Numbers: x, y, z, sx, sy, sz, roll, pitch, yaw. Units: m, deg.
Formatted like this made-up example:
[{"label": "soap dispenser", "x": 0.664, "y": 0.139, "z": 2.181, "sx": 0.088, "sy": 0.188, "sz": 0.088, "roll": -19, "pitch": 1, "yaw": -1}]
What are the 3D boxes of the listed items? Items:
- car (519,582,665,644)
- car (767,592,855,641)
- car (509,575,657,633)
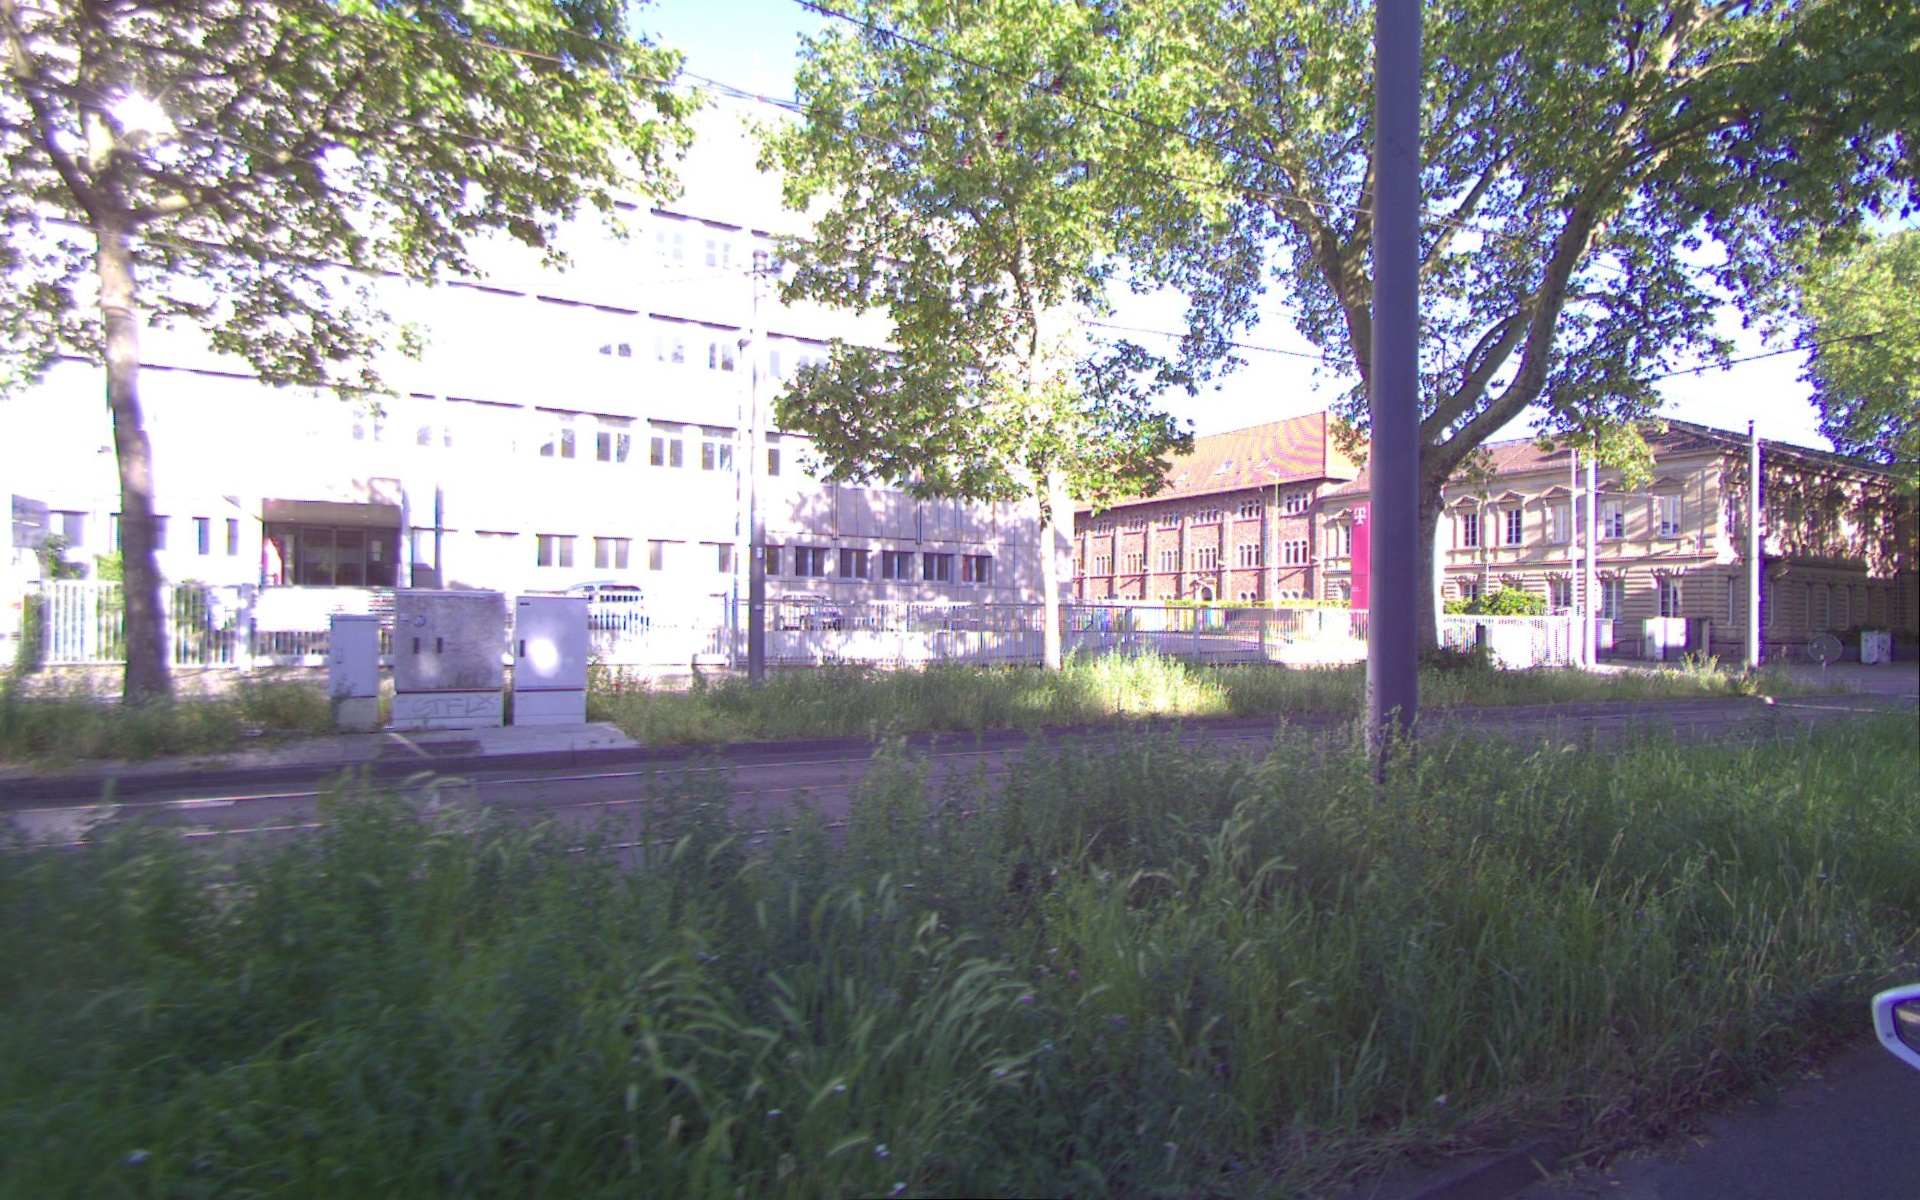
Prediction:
[{"label": "car", "x": -12.894, "y": 0.491, "z": 35.182, "sx": 4.660, "sy": 2.040, "sz": 1.988, "roll": 1, "pitch": -1, "yaw": -25}, {"label": "car", "x": -6.624, "y": 0.751, "z": 44.249, "sx": 1.980, "sy": 2.040, "sz": 4.708, "roll": 1, "pitch": -1, "yaw": -35}, {"label": "car", "x": -12.060, "y": 0.161, "z": 32.138, "sx": 4.318, "sy": 1.726, "sz": 1.988, "roll": 1, "pitch": -1, "yaw": -25}]
